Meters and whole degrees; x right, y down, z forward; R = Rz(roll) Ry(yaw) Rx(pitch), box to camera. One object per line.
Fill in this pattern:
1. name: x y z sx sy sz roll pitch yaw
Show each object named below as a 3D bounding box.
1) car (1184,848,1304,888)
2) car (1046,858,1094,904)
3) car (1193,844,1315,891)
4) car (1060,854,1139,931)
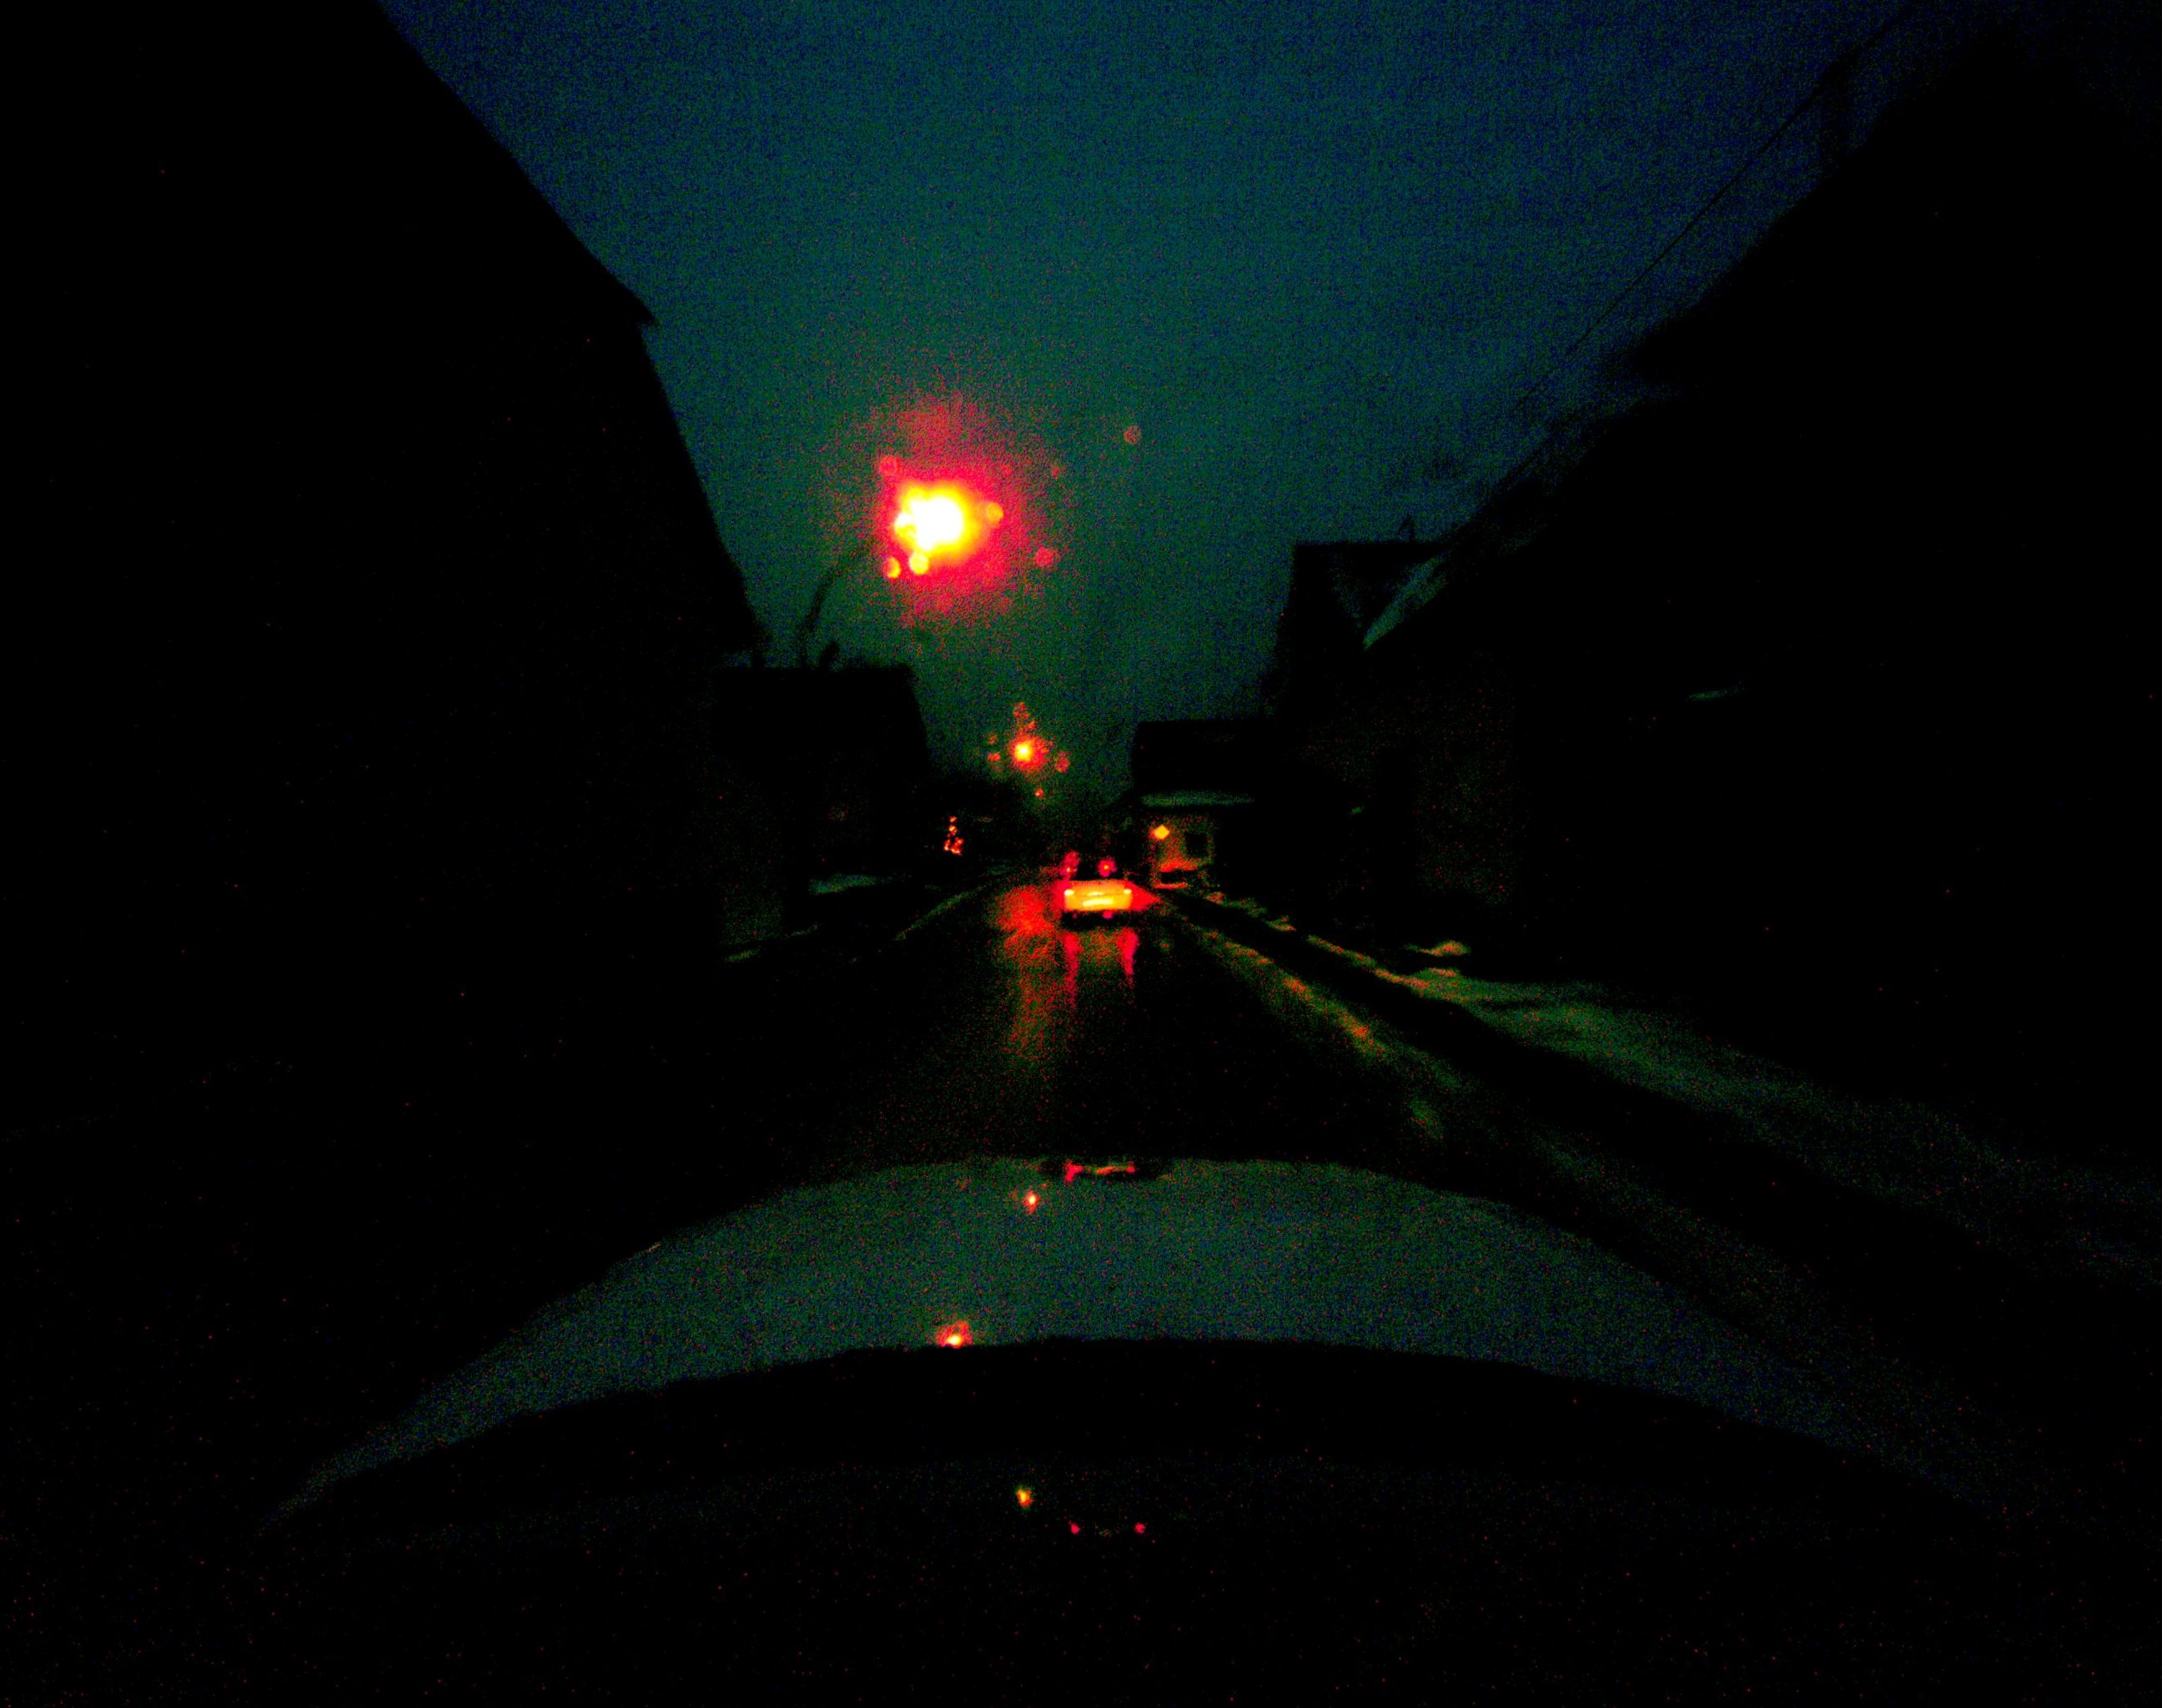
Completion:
1. car: 6.179 0.515 31.185 4.162 1.433 1.898 0 1 -5
2. car: -0.423 0.971 30.058 1.641 1.596 3.697 1 -1 -2
3. car: 5.944 0.435 28.208 3.736 1.497 1.818 -1 0 -6
4. car: 0.388 0.837 18.998 1.640 1.596 3.698 1 -1 0
